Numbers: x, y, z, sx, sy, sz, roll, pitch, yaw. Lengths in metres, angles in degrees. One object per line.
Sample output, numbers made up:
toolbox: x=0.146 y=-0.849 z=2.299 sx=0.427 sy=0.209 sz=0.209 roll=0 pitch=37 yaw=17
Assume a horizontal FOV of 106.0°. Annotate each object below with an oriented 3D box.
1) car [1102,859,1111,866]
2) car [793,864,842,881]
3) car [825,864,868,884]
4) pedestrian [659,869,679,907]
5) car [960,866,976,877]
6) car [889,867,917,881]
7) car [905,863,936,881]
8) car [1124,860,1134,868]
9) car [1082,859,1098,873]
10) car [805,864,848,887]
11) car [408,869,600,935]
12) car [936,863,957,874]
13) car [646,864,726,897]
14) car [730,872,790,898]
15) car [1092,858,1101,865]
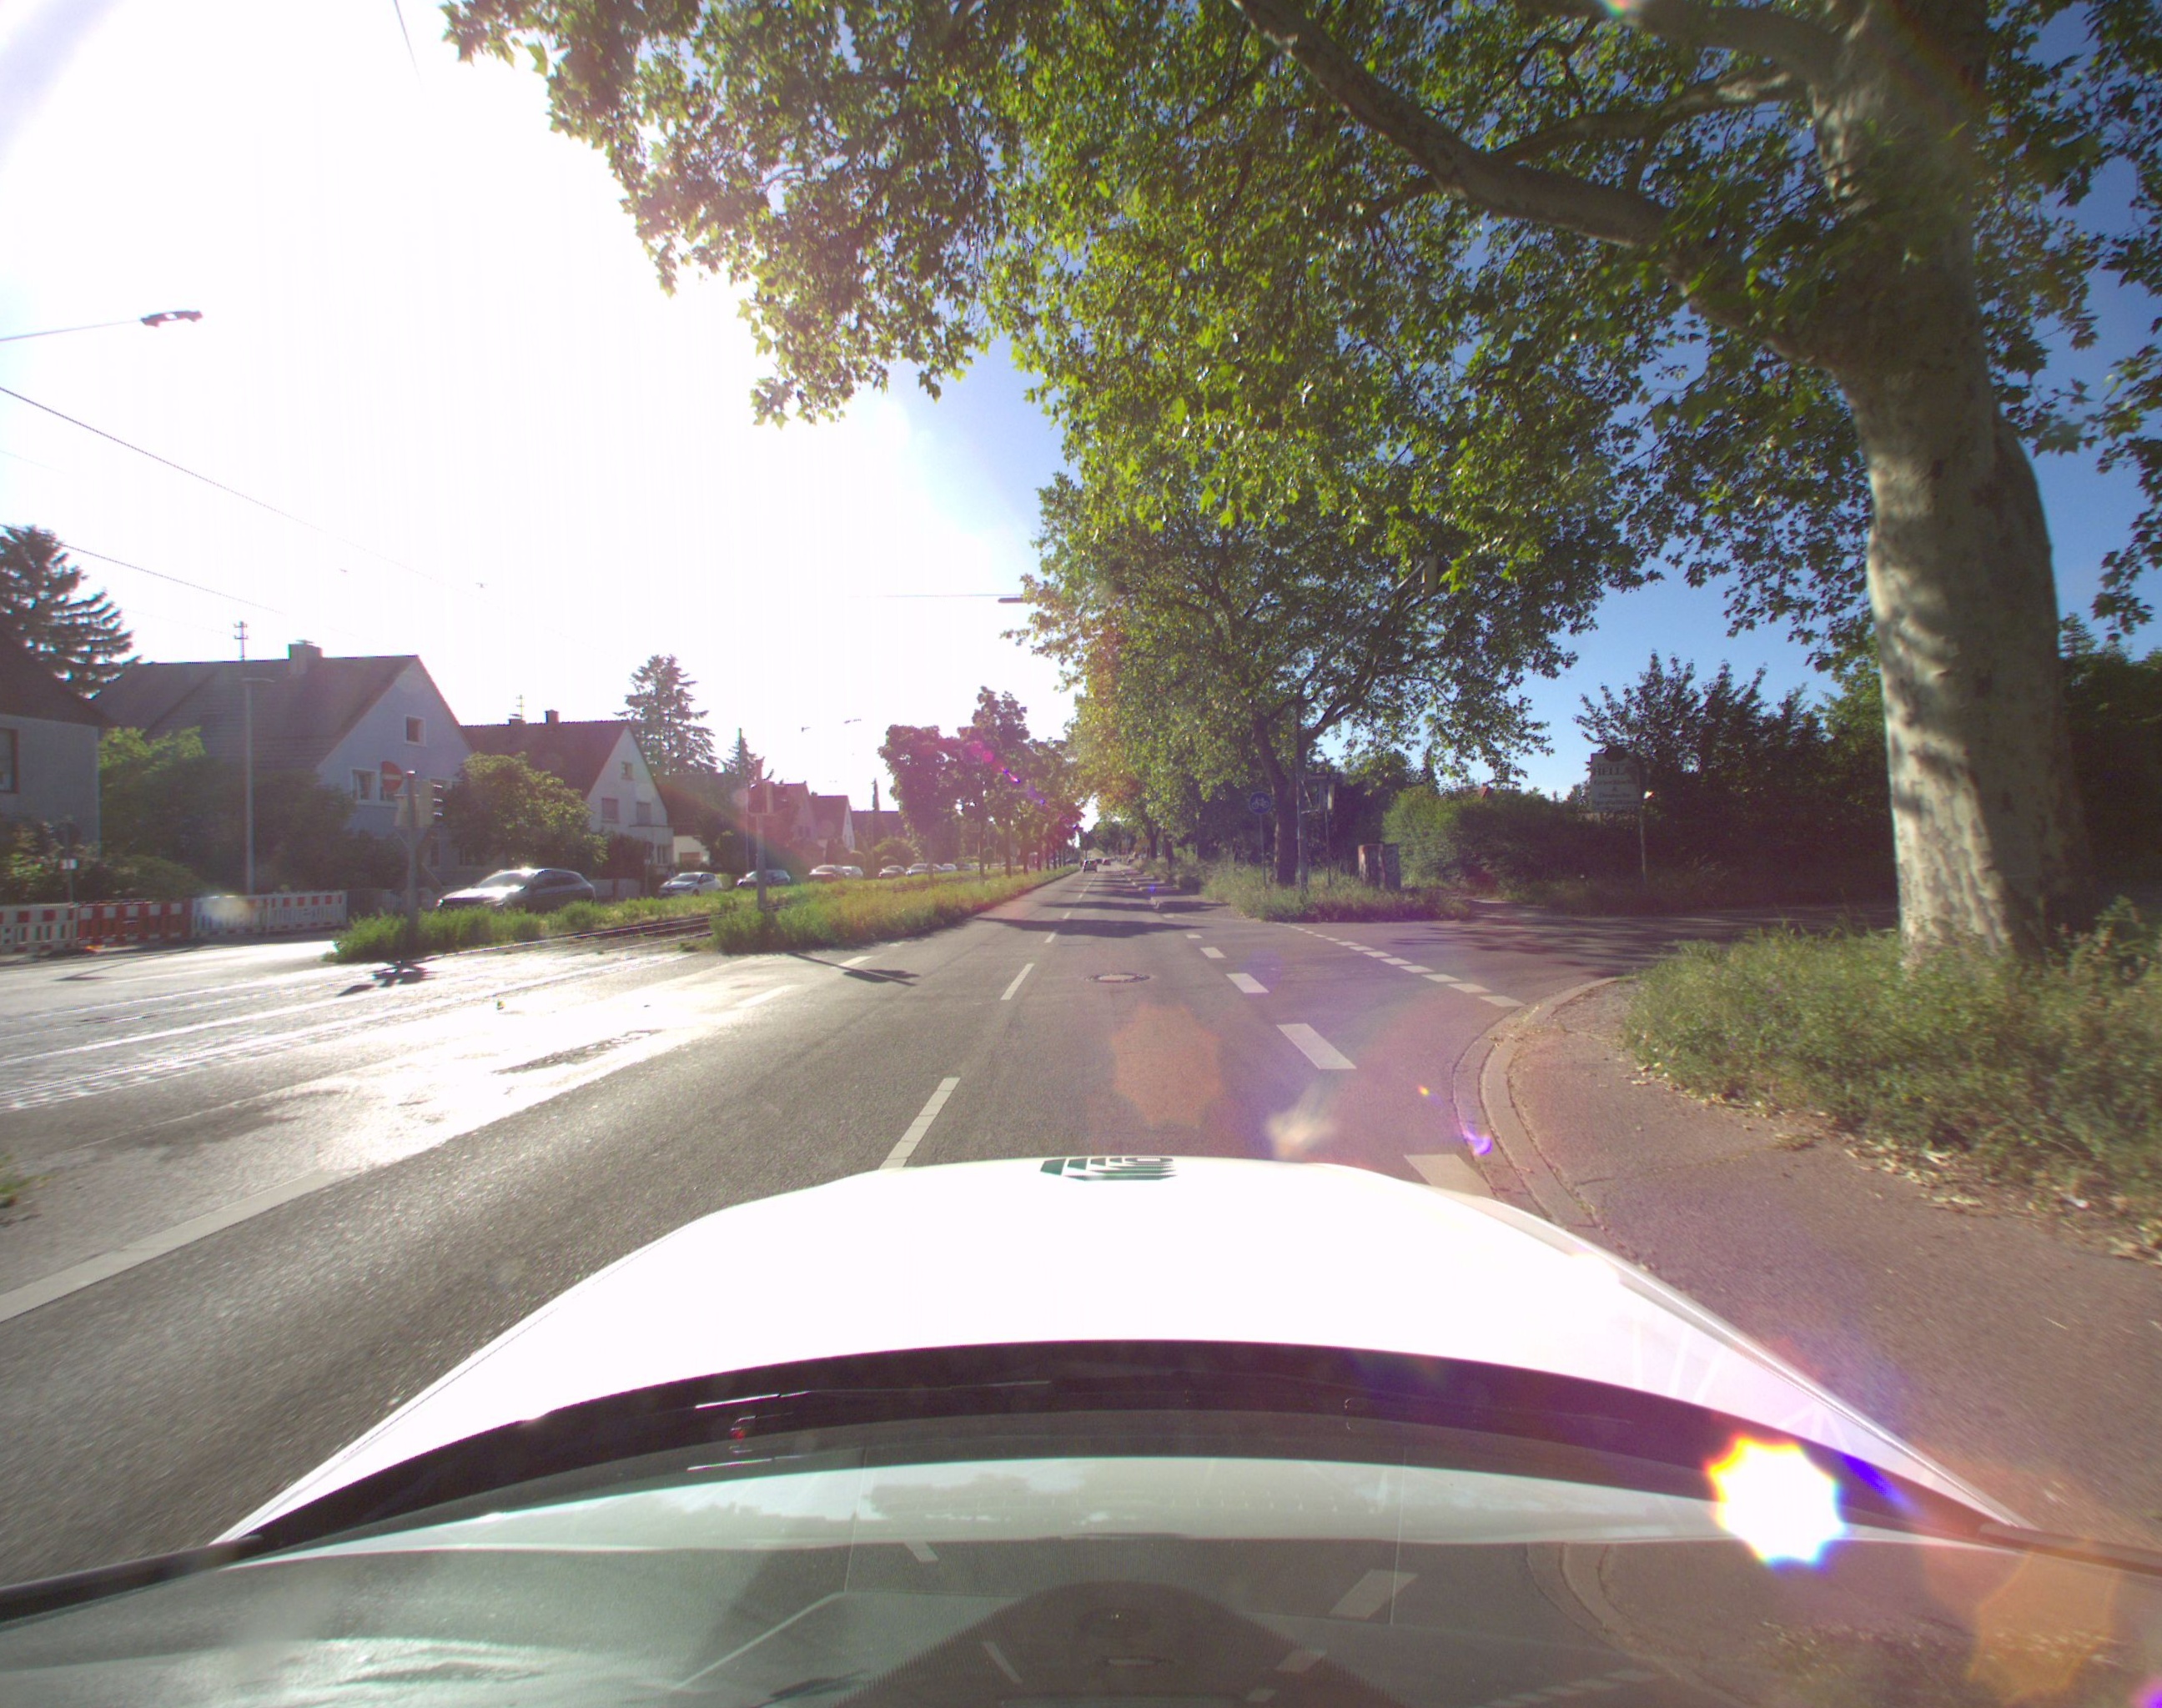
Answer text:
car: x=5.585 y=1.787 z=178.454 sx=1.785 sy=1.559 sz=4.229 roll=0 pitch=-1 yaw=1
car: x=-24.384 y=1.687 z=75.360 sx=3.904 sy=1.452 sz=1.889 roll=0 pitch=1 yaw=1
car: x=-19.116 y=1.614 z=66.533 sx=1.986 sy=1.545 sz=4.782 roll=0 pitch=-1 yaw=2
pedestrian: x=-22.211 y=1.840 z=43.946 sx=0.678 sy=2.014 sz=0.772 roll=0 pitch=-1 yaw=1
car: x=-17.190 y=2.640 z=123.807 sx=1.771 sy=1.707 sz=4.229 roll=0 pitch=-1 yaw=1
car: x=-18.746 y=2.087 z=85.869 sx=1.853 sy=1.369 sz=4.229 roll=0 pitch=-1 yaw=1
car: x=-13.965 y=1.546 z=71.062 sx=1.654 sy=1.552 sz=4.812 roll=0 pitch=-1 yaw=1
car: x=9.778 y=2.126 z=166.188 sx=1.986 sy=1.603 sz=4.474 roll=0 pitch=-1 yaw=1
car: x=1.107 y=1.436 z=95.592 sx=1.853 sy=1.601 sz=4.229 roll=0 pitch=-1 yaw=1
car: x=-19.037 y=1.610 z=61.116 sx=1.741 sy=1.651 sz=4.556 roll=0 pitch=-1 yaw=1
car: x=-15.578 y=1.227 z=22.364 sx=1.986 sy=1.603 sz=4.474 roll=0 pitch=-1 yaw=1
car: x=-17.969 y=1.926 z=108.866 sx=1.853 sy=1.431 sz=4.463 roll=0 pitch=-1 yaw=1
car: x=-19.810 y=1.298 z=41.023 sx=1.853 sy=1.542 sz=4.229 roll=0 pitch=-1 yaw=1
car: x=-19.497 y=1.873 z=49.723 sx=1.723 sy=1.466 sz=4.604 roll=0 pitch=-1 yaw=1
car: x=3.436 y=1.761 z=183.912 sx=1.986 sy=1.603 sz=4.474 roll=0 pitch=-1 yaw=1
